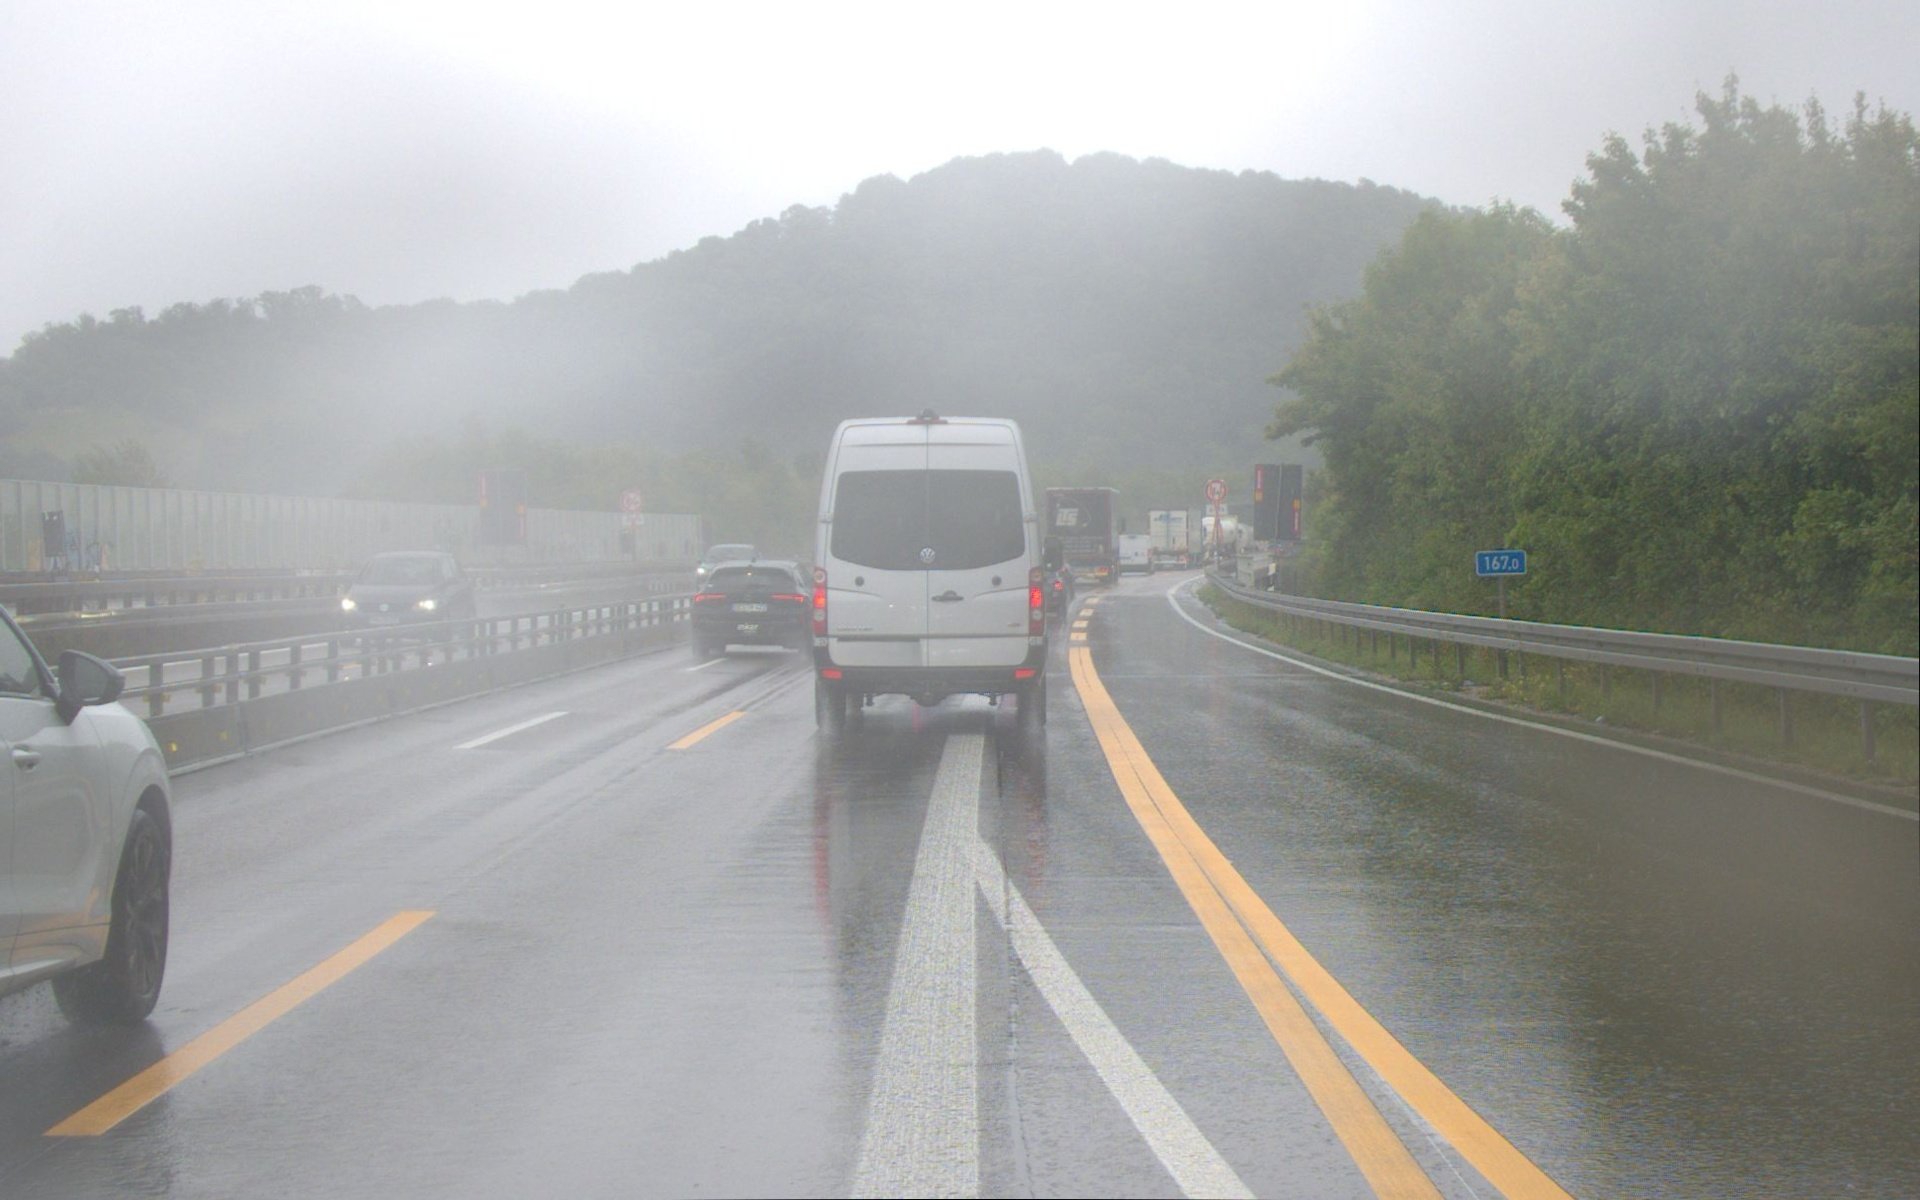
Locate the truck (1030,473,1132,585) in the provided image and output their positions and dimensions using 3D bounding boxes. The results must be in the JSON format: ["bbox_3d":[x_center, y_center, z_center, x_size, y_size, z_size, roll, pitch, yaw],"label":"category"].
[{"bbox_3d":[5.069,-2.856,141.792,3.582,4.391,9.622,1,0,5],"label":"truck"}]

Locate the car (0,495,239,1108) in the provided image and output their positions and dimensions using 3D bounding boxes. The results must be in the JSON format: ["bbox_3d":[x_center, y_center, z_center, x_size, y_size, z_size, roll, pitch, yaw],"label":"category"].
[{"bbox_3d":[-3.514,0.506,9.607,1.993,1.612,4.796,1,0,0],"label":"car"}]

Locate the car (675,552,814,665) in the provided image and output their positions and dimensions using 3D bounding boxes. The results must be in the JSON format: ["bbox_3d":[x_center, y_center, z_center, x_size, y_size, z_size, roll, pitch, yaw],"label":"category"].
[{"bbox_3d":[-3.192,0.102,50.906,1.946,1.556,4.001,1,0,-4],"label":"car"}]

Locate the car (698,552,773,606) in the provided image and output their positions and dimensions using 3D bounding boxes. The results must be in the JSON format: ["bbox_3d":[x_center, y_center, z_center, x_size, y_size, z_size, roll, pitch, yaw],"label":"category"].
[{"bbox_3d":[-6.860,-0.643,105.475,1.779,1.599,4.316,1,0,3],"label":"car"}]

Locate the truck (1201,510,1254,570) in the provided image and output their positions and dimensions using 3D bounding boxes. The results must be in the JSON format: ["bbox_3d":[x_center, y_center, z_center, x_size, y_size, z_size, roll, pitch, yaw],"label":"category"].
[{"bbox_3d":[20.240,-4.491,259.821,2.900,4.391,9.619,1,0,11],"label":"truck"}]

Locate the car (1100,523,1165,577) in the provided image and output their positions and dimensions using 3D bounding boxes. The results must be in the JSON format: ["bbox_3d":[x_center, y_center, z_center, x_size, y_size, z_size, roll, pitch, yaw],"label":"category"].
[{"bbox_3d":[9.563,-2.745,190.065,2.899,2.877,6.409,1,0,9],"label":"car"}]

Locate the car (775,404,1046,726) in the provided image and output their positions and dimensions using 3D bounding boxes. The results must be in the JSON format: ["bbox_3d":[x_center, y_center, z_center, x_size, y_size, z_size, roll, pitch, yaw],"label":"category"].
[{"bbox_3d":[-0.349,-0.305,30.465,2.145,2.562,5.389,1,0,1],"label":"car"}]

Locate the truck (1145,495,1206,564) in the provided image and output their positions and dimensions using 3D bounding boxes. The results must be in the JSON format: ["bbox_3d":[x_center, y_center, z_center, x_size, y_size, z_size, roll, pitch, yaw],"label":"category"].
[{"bbox_3d":[14.262,-4.596,226.510,3.037,4.391,9.620,1,0,9],"label":"truck"}]

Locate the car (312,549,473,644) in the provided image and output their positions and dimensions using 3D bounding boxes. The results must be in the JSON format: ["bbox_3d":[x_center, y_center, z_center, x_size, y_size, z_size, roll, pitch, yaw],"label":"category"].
[{"bbox_3d":[-9.455,-0.069,57.537,1.847,1.497,4.130,1,0,2],"label":"car"}]

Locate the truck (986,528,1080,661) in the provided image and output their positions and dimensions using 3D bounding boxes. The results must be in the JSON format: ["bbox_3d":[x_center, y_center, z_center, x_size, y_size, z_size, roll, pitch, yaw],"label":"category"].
[{"bbox_3d":[1.872,-0.168,85.314,1.994,3.098,8.498,1,0,3],"label":"truck"}]

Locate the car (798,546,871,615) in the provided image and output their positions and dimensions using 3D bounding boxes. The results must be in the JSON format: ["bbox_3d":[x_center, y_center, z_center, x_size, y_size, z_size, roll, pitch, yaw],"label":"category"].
[{"bbox_3d":[-3.044,-0.482,83.729,1.707,1.622,4.000,1,0,-1],"label":"car"}]
